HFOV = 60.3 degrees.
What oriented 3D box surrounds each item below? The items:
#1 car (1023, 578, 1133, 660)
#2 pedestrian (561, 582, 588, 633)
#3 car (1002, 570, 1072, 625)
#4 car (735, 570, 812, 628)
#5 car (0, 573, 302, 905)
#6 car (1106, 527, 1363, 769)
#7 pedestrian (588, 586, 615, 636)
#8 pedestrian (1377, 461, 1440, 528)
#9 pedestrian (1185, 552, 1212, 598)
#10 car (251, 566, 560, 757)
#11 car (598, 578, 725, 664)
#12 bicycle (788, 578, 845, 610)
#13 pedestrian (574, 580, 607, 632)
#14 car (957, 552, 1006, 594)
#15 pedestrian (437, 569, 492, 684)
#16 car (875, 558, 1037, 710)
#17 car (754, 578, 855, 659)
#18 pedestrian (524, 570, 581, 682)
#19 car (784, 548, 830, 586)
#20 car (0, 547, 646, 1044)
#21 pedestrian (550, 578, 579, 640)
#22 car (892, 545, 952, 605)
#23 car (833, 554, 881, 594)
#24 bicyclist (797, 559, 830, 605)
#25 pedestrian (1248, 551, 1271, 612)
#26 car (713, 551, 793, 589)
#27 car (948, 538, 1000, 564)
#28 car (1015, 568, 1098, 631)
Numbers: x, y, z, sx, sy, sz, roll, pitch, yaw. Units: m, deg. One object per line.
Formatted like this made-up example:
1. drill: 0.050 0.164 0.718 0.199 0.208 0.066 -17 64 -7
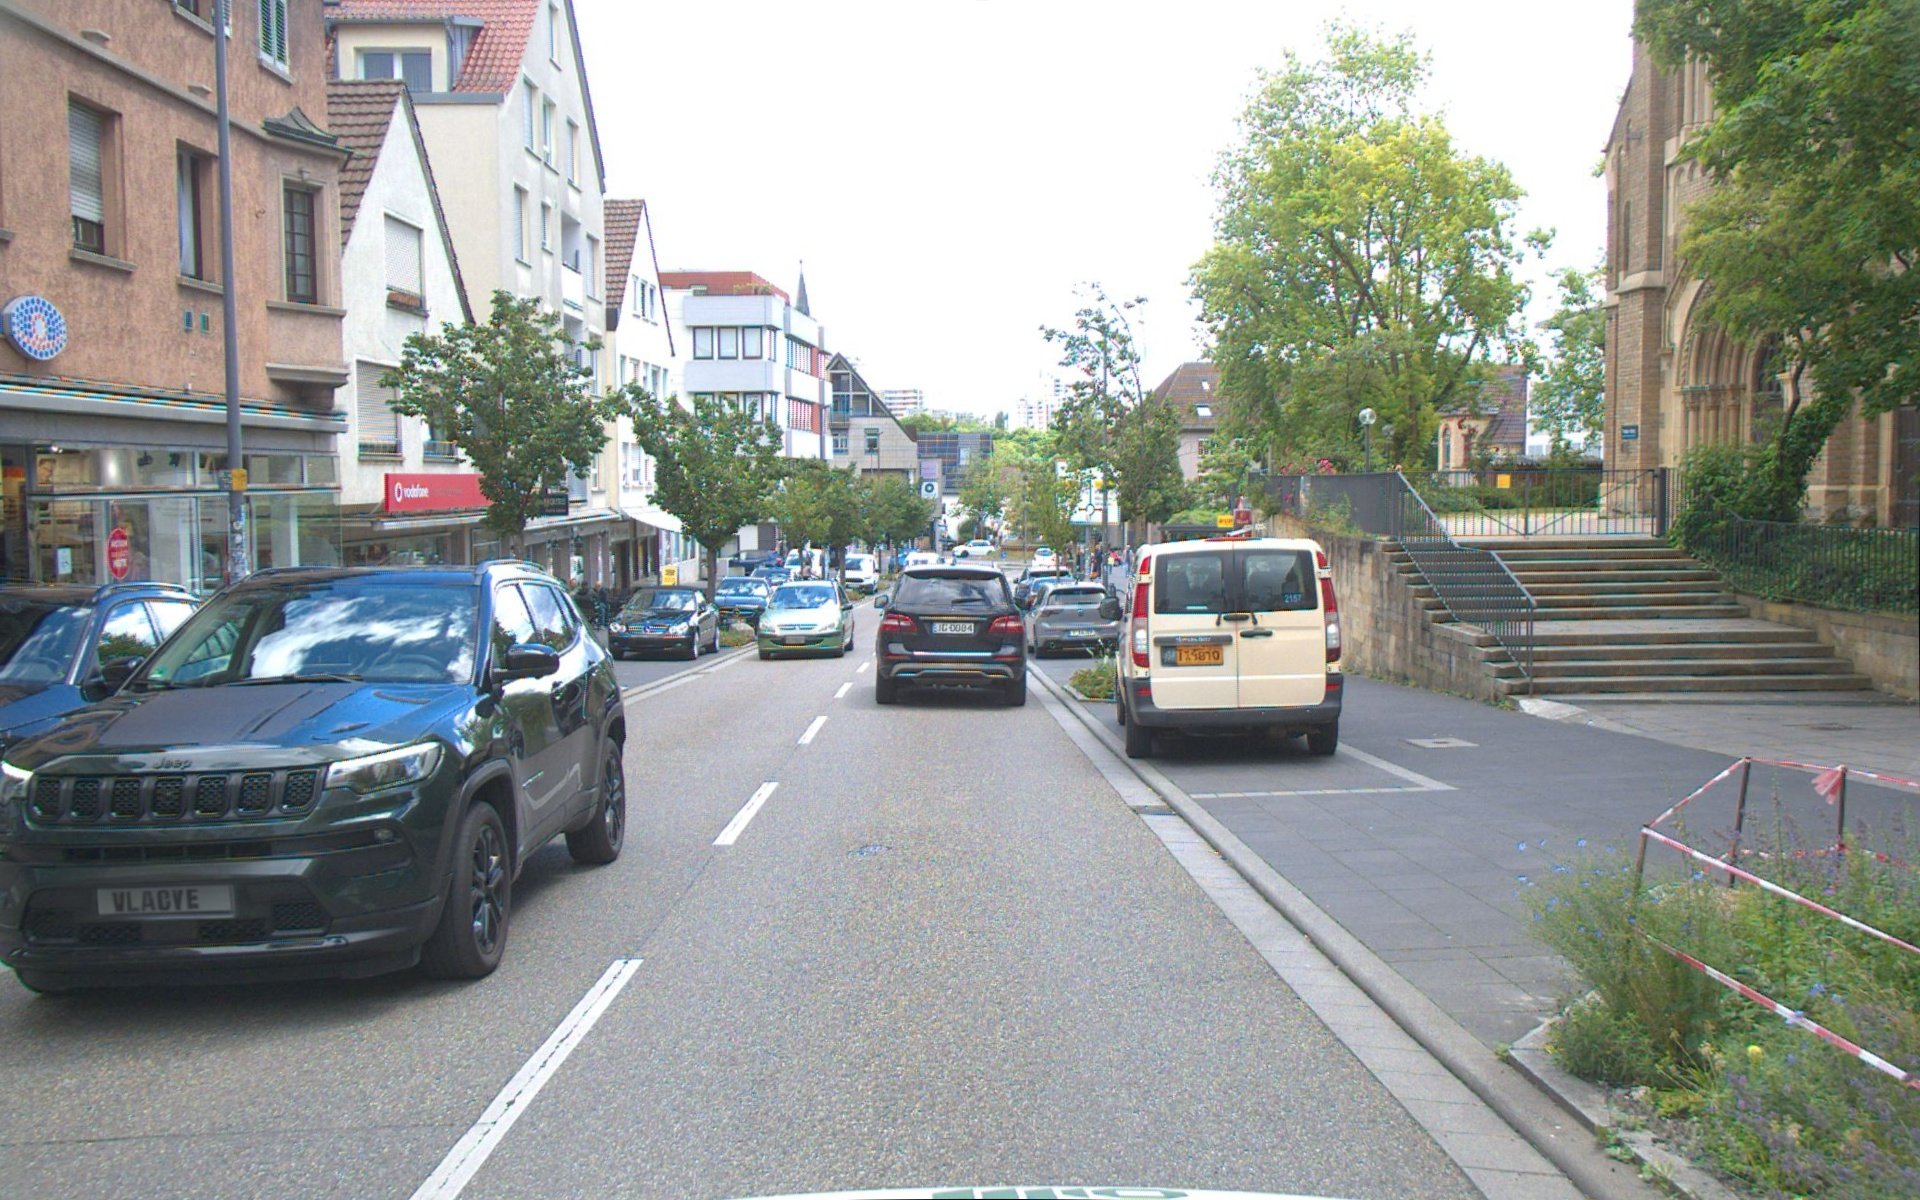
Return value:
1. car: 2.344 0.338 33.862 1.898 1.482 4.707 -1 1 0
2. pedestrian: -10.094 0.189 43.312 0.553 1.304 0.758 0 0 -2
3. car: 2.306 -0.117 50.650 1.898 1.571 4.707 -1 1 0
4. car: -5.587 -0.080 50.096 1.887 1.657 4.262 0 1 -1
5. car: -5.532 0.629 9.625 1.888 1.523 4.259 -1 1 -4
6. car: 2.471 0.337 15.987 1.897 1.924 4.709 -2 1 3
7. pedestrian: -9.375 0.286 43.271 0.553 1.304 0.758 0 0 -2
8. pedestrian: 8.769 -2.052 32.377 0.970 1.252 0.984 0 0 1
9. pedestrian: 10.371 -1.073 71.904 1.027 1.946 0.937 -2 0 6
10. car: -5.480 0.508 16.972 1.888 1.623 4.455 2 1 -4
11. car: -5.984 0.368 33.591 1.888 1.522 4.261 2 1 -2
12. bicycle: -5.298 -0.226 60.984 1.934 1.076 0.706 -3 1 -28
13. pedestrian: -9.385 0.149 42.002 0.673 1.304 0.676 -1 0 -2
14. car: 0.857 -1.138 68.769 1.887 1.657 4.262 2 1 -1
15. pedestrian: -7.446 0.387 24.877 0.628 1.696 0.720 0 0 -2
16. car: -0.061 0.364 21.757 1.904 1.770 4.179 1 1 0
17. car: -3.137 0.337 34.064 1.775 1.534 3.999 -1 1 -2
18. pedestrian: -6.285 0.395 25.529 0.712 1.696 0.720 0 0 -2
19. car: -7.109 -1.533 77.327 1.888 1.657 4.413 2 1 -2
20. car: -2.662 0.644 7.601 1.729 1.645 4.031 -1 0 -1
21. pedestrian: -10.044 0.229 41.988 0.562 1.561 0.676 -1 0 -2
22. car: -1.604 -1.081 71.361 2.128 2.405 4.625 -2 1 3
23. car: -4.607 -1.179 74.398 1.887 1.657 4.262 2 1 -1
24. bicyclist: -5.396 -0.667 60.926 0.951 1.637 0.724 -3 1 -27
25. pedestrian: 8.001 -0.500 44.190 0.556 1.614 0.666 -1 0 8
26. car: -10.560 -1.534 84.549 3.909 1.780 1.998 -3 1 -5
27. car: 1.194 -4.100 139.117 4.002 2.049 1.993 1 1 -14
28. car: 2.520 -0.057 44.351 1.898 1.482 4.707 -2 1 0
